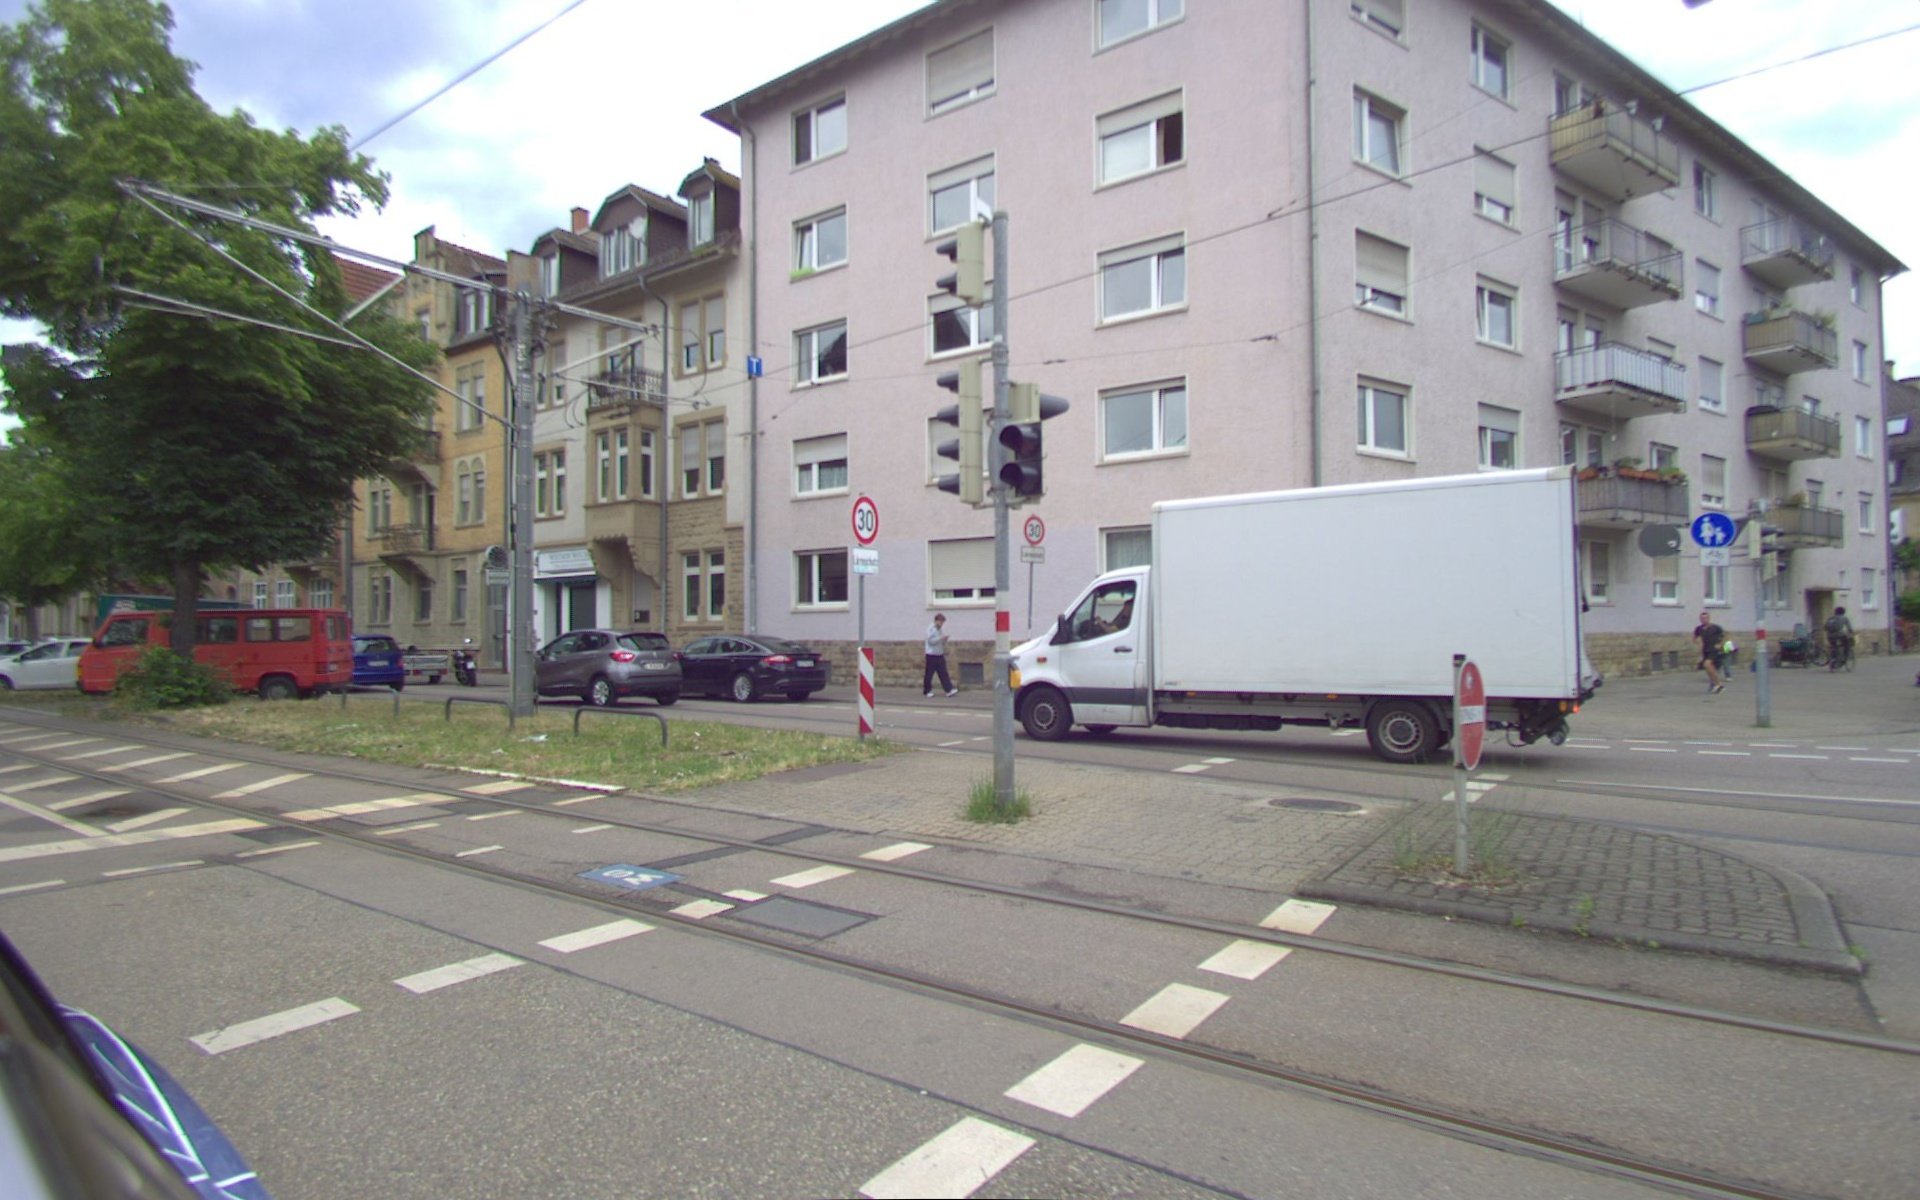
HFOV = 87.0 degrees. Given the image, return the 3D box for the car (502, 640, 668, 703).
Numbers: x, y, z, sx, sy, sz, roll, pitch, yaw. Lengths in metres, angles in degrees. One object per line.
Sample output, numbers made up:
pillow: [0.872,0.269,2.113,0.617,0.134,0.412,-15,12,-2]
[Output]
car: [-9.520,1.773,25.538,4.559,1.454,1.621,-2,-2,35]

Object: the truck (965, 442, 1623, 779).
truck: [3.719,0.208,12.454,7.310,3.181,2.167,-2,-2,33]

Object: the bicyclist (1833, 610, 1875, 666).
bicyclist: [25.493,1.074,28.865,0.846,1.576,0.660,1,-3,-34]

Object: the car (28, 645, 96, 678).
car: [-47.780,3.237,53.829,4.544,1.639,1.725,-2,-2,35]

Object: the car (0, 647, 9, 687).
car: [-38.250,2.537,37.473,4.049,1.495,1.802,-1,-2,-13]

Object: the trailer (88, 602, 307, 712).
trailer: [-17.336,1.263,23.237,3.607,2.362,1.937,0,-3,-21]

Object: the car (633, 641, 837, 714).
car: [-5.035,1.662,22.334,4.751,1.454,1.621,-2,-2,35]

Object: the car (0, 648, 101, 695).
car: [-31.618,2.373,33.416,4.609,1.446,1.904,0,-2,-15]

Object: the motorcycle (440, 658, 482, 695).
motorcycle: [-14.885,2.258,30.175,0.699,1.046,2.235,1,-3,-37]

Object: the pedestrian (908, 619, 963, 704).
pedestrian: [-0.528,1.326,21.919,0.898,1.780,0.791,-2,-3,35]

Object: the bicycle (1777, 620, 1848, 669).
bicycle: [26.882,1.392,31.899,2.847,1.477,0.885,1,-3,-34]

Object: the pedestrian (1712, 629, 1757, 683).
pedestrian: [19.128,1.376,24.995,0.719,1.298,0.692,1,-3,-38]

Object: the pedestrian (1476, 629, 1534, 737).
pedestrian: [8.110,1.214,15.065,0.561,1.569,0.534,1,-3,-39]

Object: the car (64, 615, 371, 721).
car: [-15.061,1.342,20.860,4.687,1.989,1.965,0,-2,-16]

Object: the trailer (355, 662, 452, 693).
trailer: [-17.453,2.412,31.729,3.069,0.899,1.442,-2,-4,35]

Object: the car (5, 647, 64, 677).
car: [-51.738,3.445,56.565,3.714,1.571,1.647,-2,-2,35]

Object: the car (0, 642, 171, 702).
car: [-23.791,1.900,27.126,3.799,1.474,1.693,-1,-2,-12]

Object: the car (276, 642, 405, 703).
car: [-16.966,1.930,27.684,3.619,1.546,1.630,-2,-2,33]

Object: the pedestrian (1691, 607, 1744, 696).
pedestrian: [15.991,1.080,21.361,0.711,1.827,0.685,1,-3,-38]

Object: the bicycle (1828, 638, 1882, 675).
bicycle: [25.538,1.597,28.868,1.933,1.010,0.658,1,-3,-34]

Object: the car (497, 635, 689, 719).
car: [-7.546,1.503,20.678,4.122,1.546,1.630,-2,-2,35]

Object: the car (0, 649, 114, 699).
car: [-29.203,2.277,31.308,4.269,1.446,1.903,-1,-2,-12]

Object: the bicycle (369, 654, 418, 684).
bicycle: [-21.451,2.589,38.286,2.254,1.081,0.705,-2,-2,34]

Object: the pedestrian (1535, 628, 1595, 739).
pedestrian: [8.790,1.197,14.718,0.565,1.569,0.531,-1,-3,13]
